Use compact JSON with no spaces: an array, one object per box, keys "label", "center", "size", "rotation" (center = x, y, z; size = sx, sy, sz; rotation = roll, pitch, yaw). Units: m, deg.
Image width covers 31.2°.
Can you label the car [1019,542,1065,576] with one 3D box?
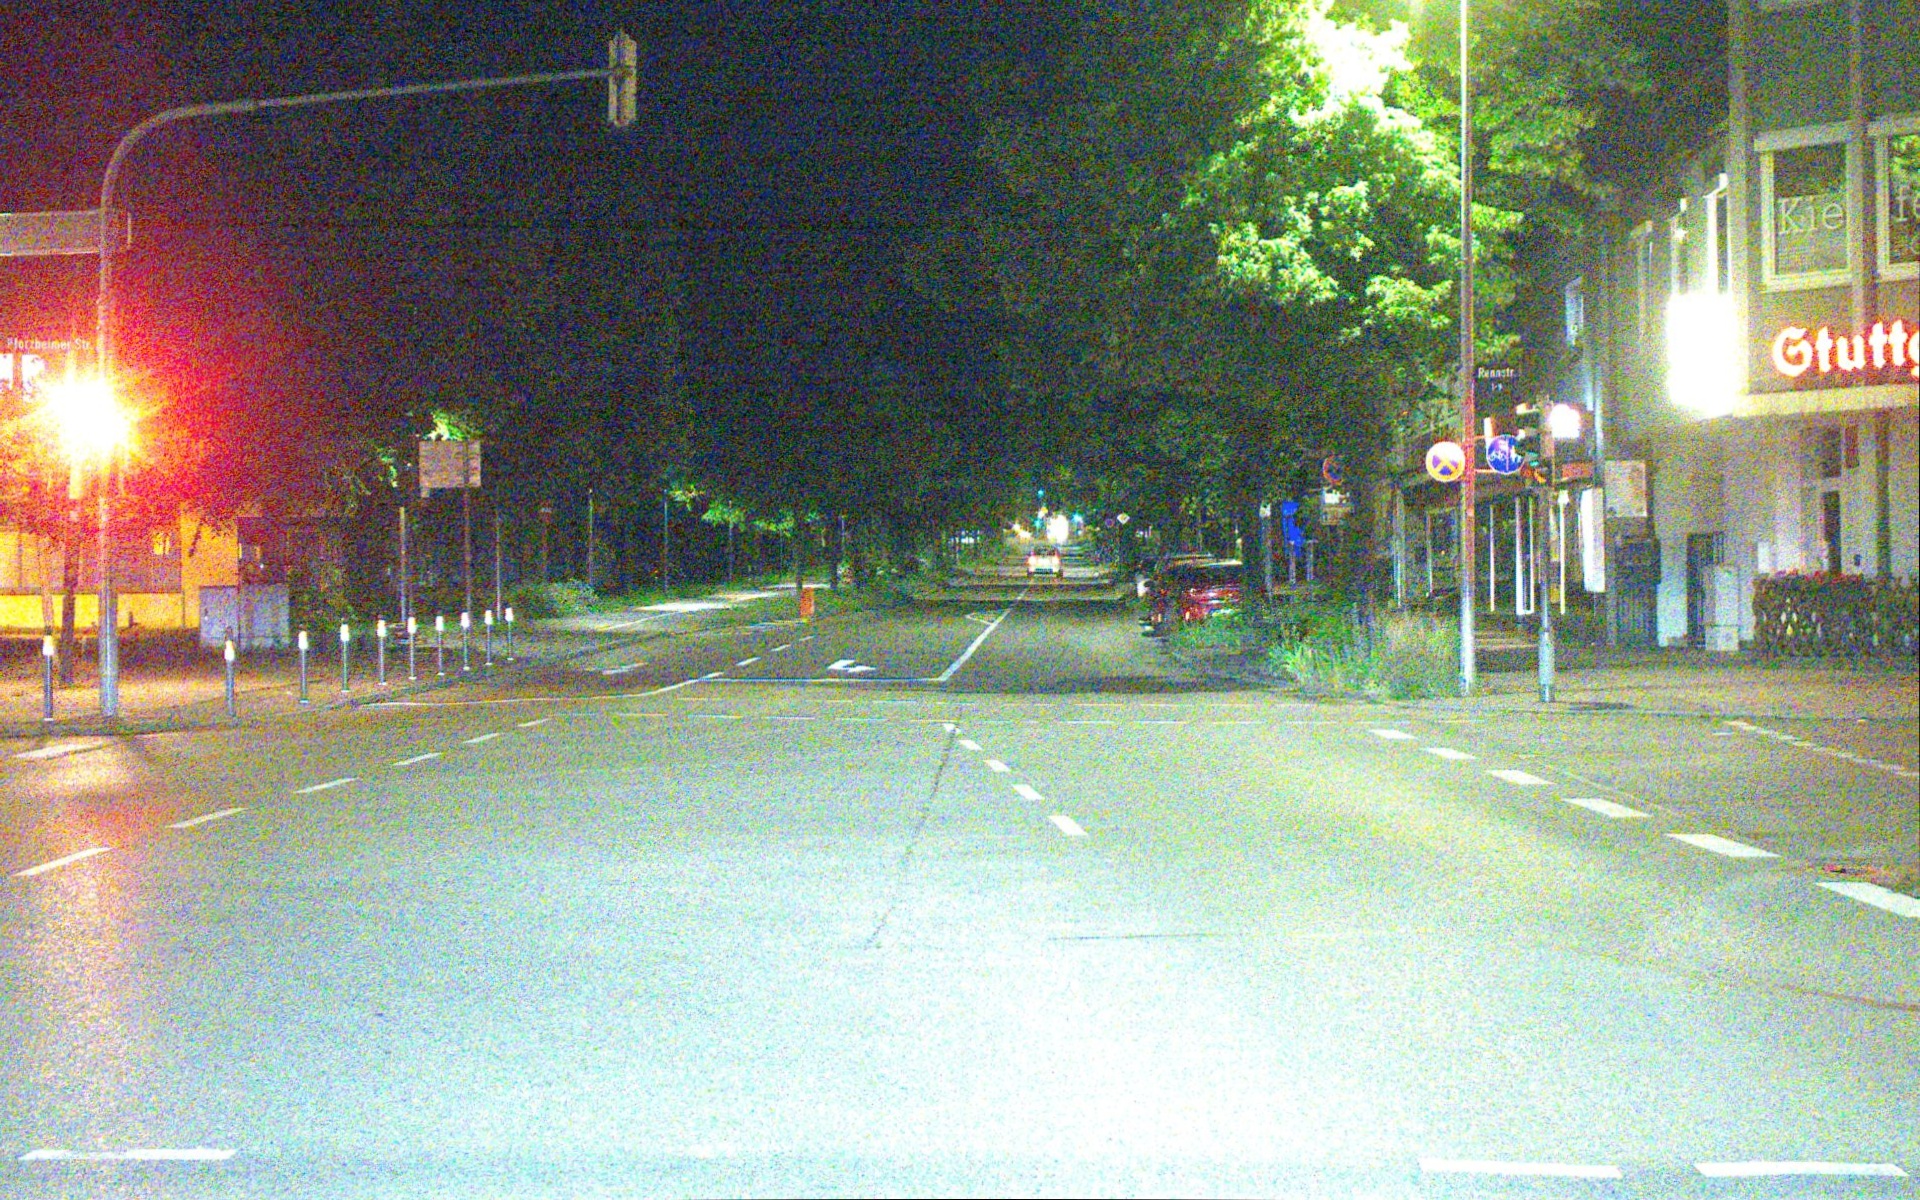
[{"label":"car","center":[4.021,-1.988,168.644],"size":[2.227,1.645,4.000],"rotation":[0,1,2]}]

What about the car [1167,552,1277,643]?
[{"label":"car","center":[4.822,-0.069,63.751],"size":[1.876,1.610,4.000],"rotation":[0,1,2]}]

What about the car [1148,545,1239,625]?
[{"label":"car","center":[5.167,-0.344,76.474],"size":[1.876,1.723,4.000],"rotation":[0,1,2]}]

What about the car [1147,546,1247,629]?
[{"label":"car","center":[4.707,-0.263,68.804],"size":[1.876,1.610,4.000],"rotation":[0,1,2]}]

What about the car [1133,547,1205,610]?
[{"label":"car","center":[5.738,-0.590,94.555],"size":[1.876,1.678,4.000],"rotation":[0,1,2]}]
